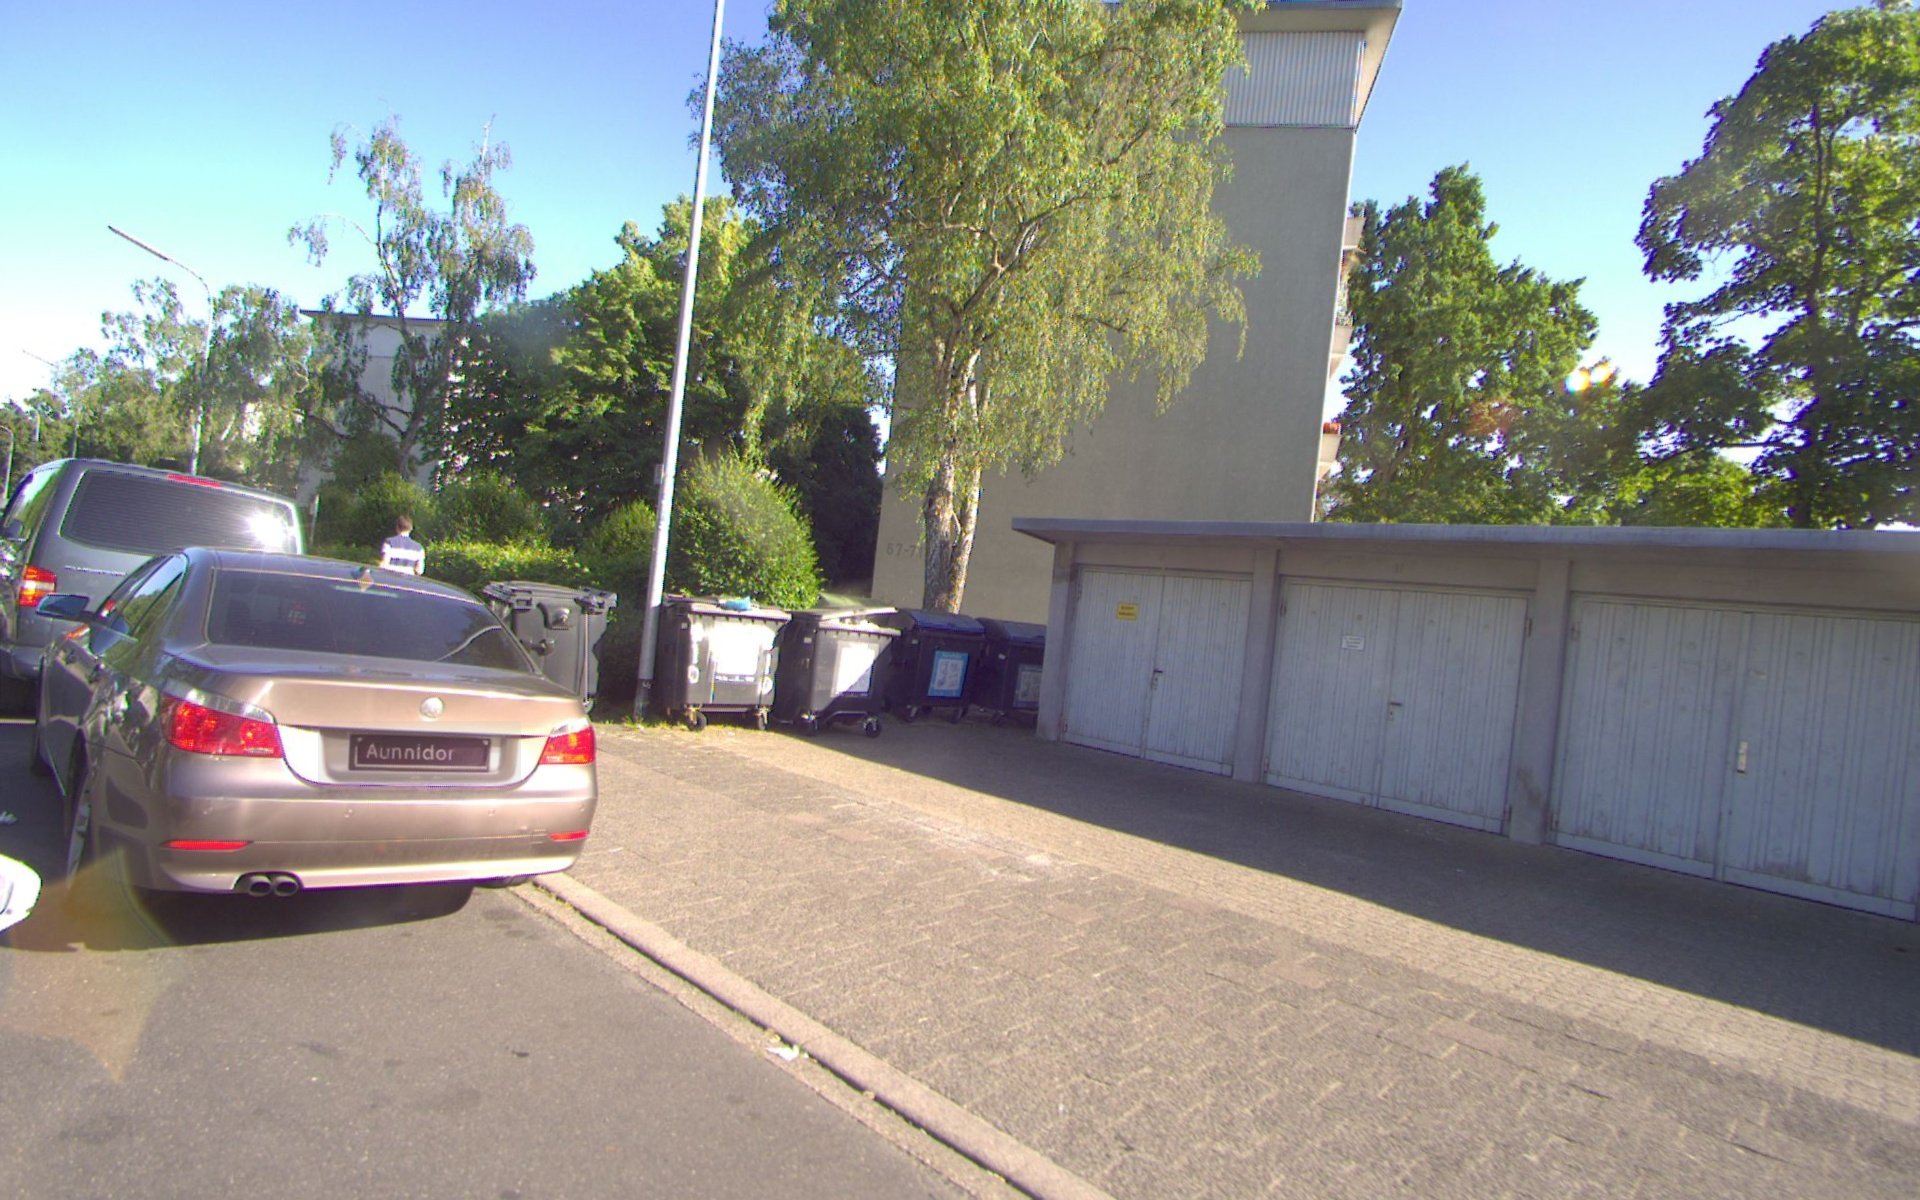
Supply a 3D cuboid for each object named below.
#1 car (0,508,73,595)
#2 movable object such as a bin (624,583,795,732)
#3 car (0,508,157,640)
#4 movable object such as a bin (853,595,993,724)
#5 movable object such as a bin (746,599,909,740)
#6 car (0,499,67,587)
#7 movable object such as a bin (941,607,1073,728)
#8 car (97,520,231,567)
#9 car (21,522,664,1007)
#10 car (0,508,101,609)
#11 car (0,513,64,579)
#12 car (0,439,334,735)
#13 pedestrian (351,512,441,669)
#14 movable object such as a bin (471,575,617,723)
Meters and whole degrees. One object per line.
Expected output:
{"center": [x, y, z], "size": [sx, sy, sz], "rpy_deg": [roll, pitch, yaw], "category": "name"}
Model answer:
{"center": [-19.284, -1.039, 20.665], "size": [1.411, 1.541, 2.527], "rpy_deg": [9, -2, -42], "category": "car"}
{"center": [-2.618, 0.602, 10.513], "size": [1.220, 1.382, 1.119], "rpy_deg": [7, -1, -43], "category": "movable object such as a bin"}
{"center": [-12.937, -0.440, 14.352], "size": [3.982, 1.507, 1.621], "rpy_deg": [6, -3, 43], "category": "car"}
{"center": [-0.495, 0.805, 13.530], "size": [1.272, 1.485, 1.118], "rpy_deg": [7, 3, -43], "category": "movable object such as a bin"}
{"center": [-1.470, 0.774, 11.182], "size": [1.272, 1.382, 1.119], "rpy_deg": [7, -1, -43], "category": "movable object such as a bin"}
{"center": [-21.322, -1.337, 22.629], "size": [2.549, 1.738, 1.487], "rpy_deg": [6, -2, 43], "category": "car"}
{"center": [0.671, 0.970, 14.330], "size": [1.272, 1.485, 1.118], "rpy_deg": [7, 3, -43], "category": "movable object such as a bin"}
{"center": [-35.232, -2.487, 44.598], "size": [1.805, 1.532, 4.404], "rpy_deg": [6, 0, 44], "category": "car"}
{"center": [-3.577, 0.472, 5.318], "size": [1.797, 1.435, 4.577], "rpy_deg": [9, -2, -45], "category": "car"}
{"center": [-16.565, -0.833, 17.544], "size": [4.439, 1.508, 1.729], "rpy_deg": [6, 0, 41], "category": "car"}
{"center": [-24.177, -1.462, 25.428], "size": [3.841, 1.419, 1.731], "rpy_deg": [6, -3, 41], "category": "car"}
{"center": [-7.470, -0.158, 9.009], "size": [4.642, 1.956, 1.850], "rpy_deg": [6, -2, 43], "category": "car"}
{"center": [-7.198, -0.121, 12.833], "size": [0.861, 1.913, 0.701], "rpy_deg": [6, 2, 45], "category": "pedestrian"}
{"center": [-4.233, 0.467, 10.194], "size": [1.019, 1.327, 1.373], "rpy_deg": [3, 2, -36], "category": "movable object such as a bin"}
